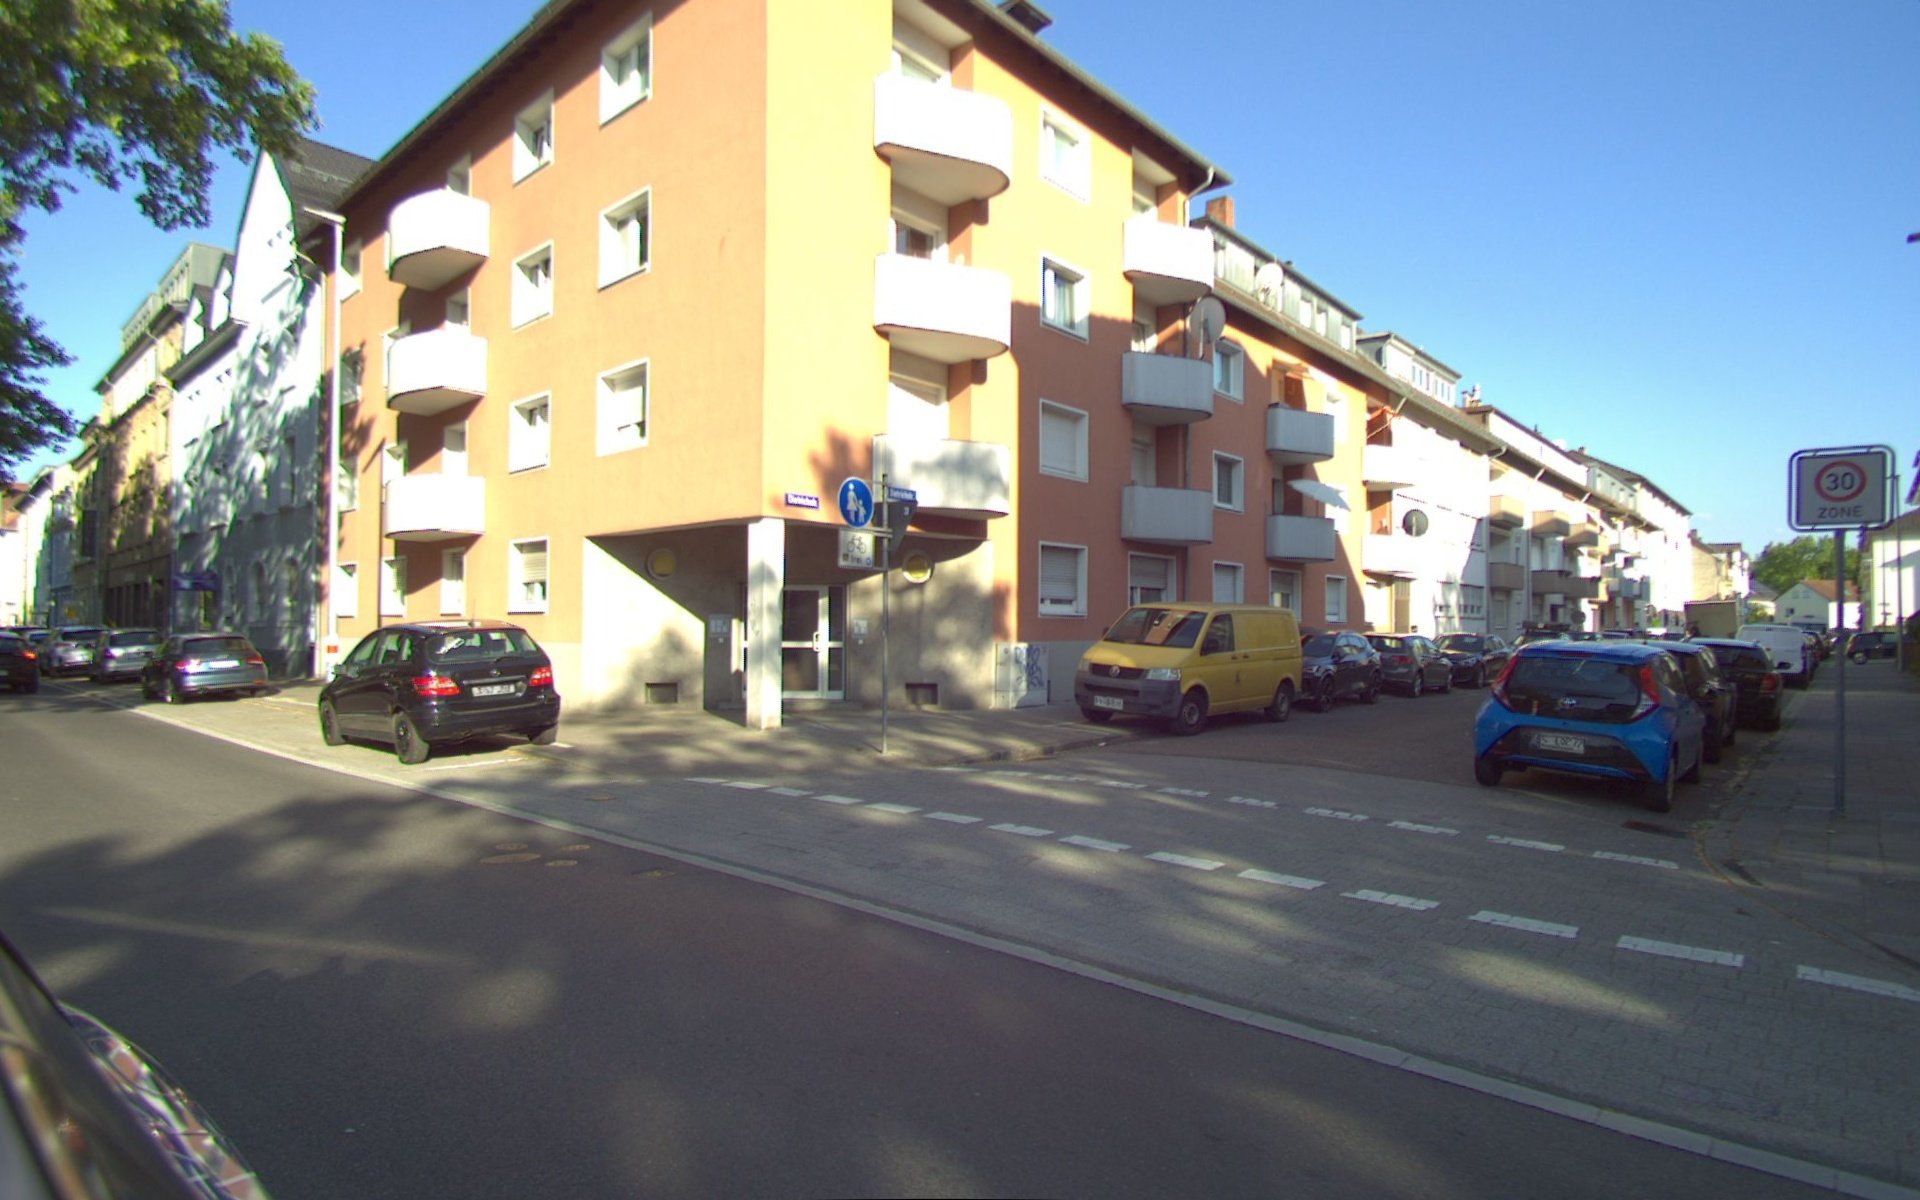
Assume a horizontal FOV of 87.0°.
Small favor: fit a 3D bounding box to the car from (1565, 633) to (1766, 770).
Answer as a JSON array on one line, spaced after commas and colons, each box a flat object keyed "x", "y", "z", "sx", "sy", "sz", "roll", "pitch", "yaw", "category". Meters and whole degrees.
[{"x": 9.672, "y": 1.251, "z": 13.748, "sx": 1.748, "sy": 1.579, "sz": 3.947, "roll": -1, "pitch": -3, "yaw": 42, "category": "car"}]

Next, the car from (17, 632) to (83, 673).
[{"x": -36.272, "y": 2.047, "z": 40.307, "sx": 3.872, "sy": 1.508, "sz": 1.659, "roll": -2, "pitch": -1, "yaw": 43, "category": "car"}]

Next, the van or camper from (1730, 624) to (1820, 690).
[{"x": 23.991, "y": 1.636, "z": 29.750, "sx": 1.870, "sy": 1.784, "sz": 4.232, "roll": -2, "pitch": -3, "yaw": 41, "category": "van or camper"}]

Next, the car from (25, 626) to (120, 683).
[{"x": -28.749, "y": 1.715, "z": 32.727, "sx": 4.577, "sy": 1.654, "sz": 1.887, "roll": -2, "pitch": -1, "yaw": 43, "category": "car"}]

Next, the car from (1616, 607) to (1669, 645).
[{"x": 38.445, "y": 1.431, "z": 56.993, "sx": 1.999, "sy": 2.029, "sz": 3.945, "roll": 0, "pitch": -1, "yaw": 42, "category": "car"}]

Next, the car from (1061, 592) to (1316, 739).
[{"x": 3.822, "y": 0.994, "z": 16.357, "sx": 1.920, "sy": 2.029, "sz": 4.694, "roll": -2, "pitch": -3, "yaw": 43, "category": "car"}]

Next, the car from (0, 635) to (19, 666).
[{"x": -51.638, "y": 2.702, "z": 54.258, "sx": 1.658, "sy": 1.617, "sz": 3.707, "roll": 0, "pitch": -1, "yaw": -45, "category": "car"}]

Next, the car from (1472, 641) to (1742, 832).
[{"x": 6.811, "y": 1.227, "z": 10.494, "sx": 1.748, "sy": 1.579, "sz": 3.743, "roll": -1, "pitch": -3, "yaw": 42, "category": "car"}]

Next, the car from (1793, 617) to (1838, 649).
[{"x": 51.887, "y": 1.959, "z": 61.435, "sx": 1.998, "sy": 1.866, "sz": 4.637, "roll": 0, "pitch": -1, "yaw": 39, "category": "car"}]

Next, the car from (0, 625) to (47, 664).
[{"x": -41.270, "y": 1.928, "z": 44.286, "sx": 4.200, "sy": 1.597, "sz": 1.659, "roll": -2, "pitch": -1, "yaw": 43, "category": "car"}]

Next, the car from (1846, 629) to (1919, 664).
[{"x": 43.312, "y": 2.136, "z": 46.501, "sx": 1.722, "sy": 1.579, "sz": 3.780, "roll": 2, "pitch": -3, "yaw": -44, "category": "car"}]

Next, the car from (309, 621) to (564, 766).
[{"x": -6.800, "y": 1.069, "z": 12.959, "sx": 4.021, "sy": 1.535, "sz": 1.659, "roll": -2, "pitch": -1, "yaw": 43, "category": "car"}]

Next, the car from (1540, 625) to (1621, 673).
[{"x": 24.710, "y": 1.924, "z": 40.239, "sx": 1.920, "sy": 1.781, "sz": 4.246, "roll": -2, "pitch": -3, "yaw": 43, "category": "car"}]

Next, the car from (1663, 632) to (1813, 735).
[{"x": 13.647, "y": 1.361, "z": 17.661, "sx": 1.748, "sy": 1.579, "sz": 3.947, "roll": -1, "pitch": -3, "yaw": 42, "category": "car"}]

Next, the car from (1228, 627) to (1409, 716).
[{"x": 7.487, "y": 1.401, "z": 20.908, "sx": 1.920, "sy": 1.638, "sz": 4.400, "roll": -2, "pitch": -3, "yaw": 43, "category": "car"}]

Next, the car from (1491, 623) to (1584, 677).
[{"x": 20.384, "y": 1.727, "z": 35.657, "sx": 1.920, "sy": 1.781, "sz": 4.246, "roll": -2, "pitch": -3, "yaw": 43, "category": "car"}]

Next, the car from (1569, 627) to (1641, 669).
[{"x": 28.493, "y": 2.100, "z": 44.657, "sx": 1.920, "sy": 1.781, "sz": 4.246, "roll": -2, "pitch": -3, "yaw": 43, "category": "car"}]

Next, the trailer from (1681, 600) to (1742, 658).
[{"x": 40.041, "y": 1.459, "z": 53.851, "sx": 2.239, "sy": 2.915, "sz": 5.068, "roll": 0, "pitch": 0, "yaw": 41, "category": "trailer"}]

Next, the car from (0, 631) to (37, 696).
[{"x": -23.858, "y": 1.514, "z": 24.573, "sx": 4.321, "sy": 1.490, "sz": 1.752, "roll": -2, "pitch": -1, "yaw": 42, "category": "car"}]

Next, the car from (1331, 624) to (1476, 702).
[{"x": 10.822, "y": 1.475, "z": 24.577, "sx": 1.920, "sy": 1.711, "sz": 4.246, "roll": -2, "pitch": -3, "yaw": 43, "category": "car"}]

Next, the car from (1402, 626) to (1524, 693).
[{"x": 14.095, "y": 1.614, "z": 28.270, "sx": 1.920, "sy": 1.711, "sz": 4.246, "roll": -2, "pitch": -3, "yaw": 43, "category": "car"}]

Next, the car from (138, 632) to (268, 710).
[{"x": -16.417, "y": 1.456, "z": 21.884, "sx": 3.601, "sy": 1.497, "sz": 1.659, "roll": -2, "pitch": -1, "yaw": 43, "category": "car"}]

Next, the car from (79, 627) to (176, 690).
[{"x": -23.948, "y": 1.620, "z": 29.083, "sx": 3.985, "sy": 1.654, "sz": 1.659, "roll": -2, "pitch": -1, "yaw": 43, "category": "car"}]
